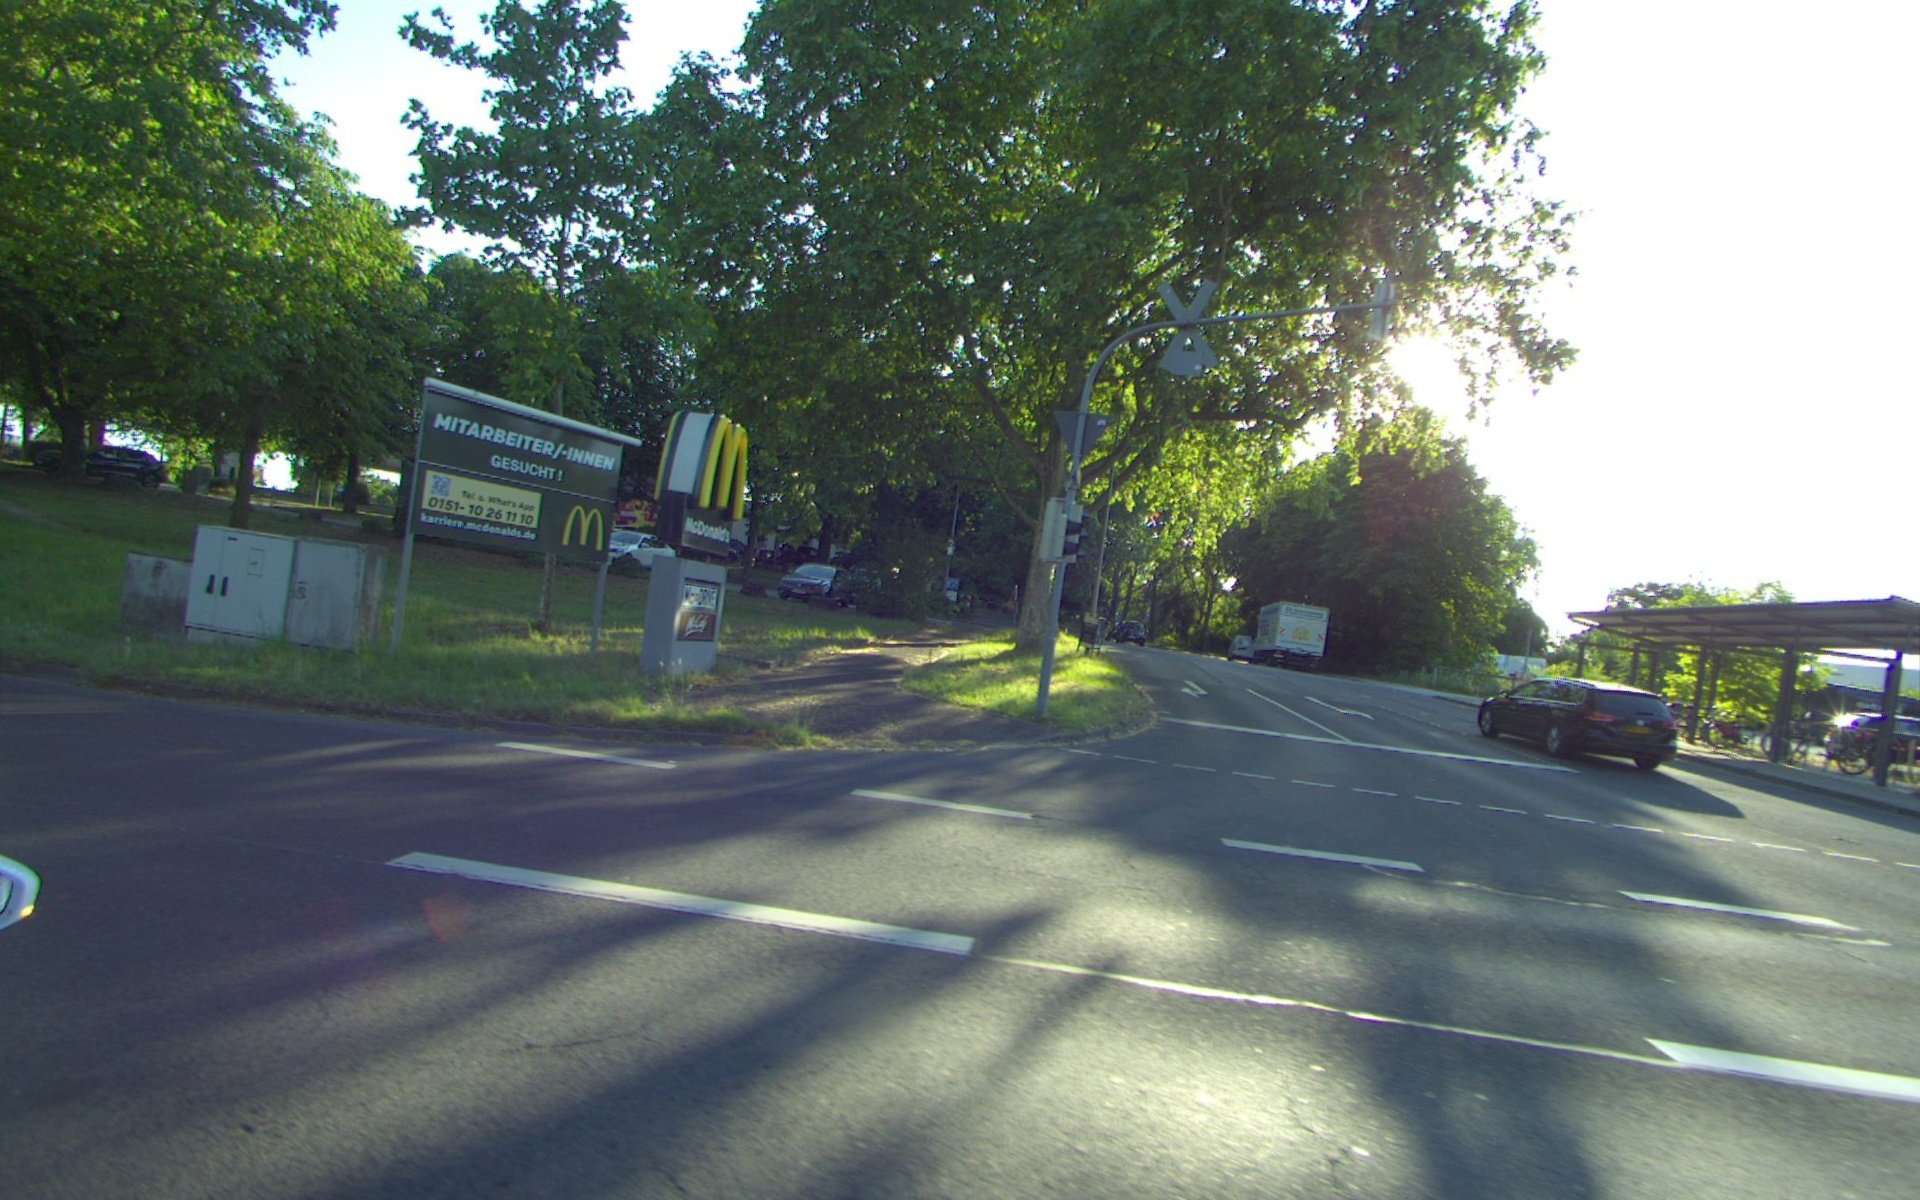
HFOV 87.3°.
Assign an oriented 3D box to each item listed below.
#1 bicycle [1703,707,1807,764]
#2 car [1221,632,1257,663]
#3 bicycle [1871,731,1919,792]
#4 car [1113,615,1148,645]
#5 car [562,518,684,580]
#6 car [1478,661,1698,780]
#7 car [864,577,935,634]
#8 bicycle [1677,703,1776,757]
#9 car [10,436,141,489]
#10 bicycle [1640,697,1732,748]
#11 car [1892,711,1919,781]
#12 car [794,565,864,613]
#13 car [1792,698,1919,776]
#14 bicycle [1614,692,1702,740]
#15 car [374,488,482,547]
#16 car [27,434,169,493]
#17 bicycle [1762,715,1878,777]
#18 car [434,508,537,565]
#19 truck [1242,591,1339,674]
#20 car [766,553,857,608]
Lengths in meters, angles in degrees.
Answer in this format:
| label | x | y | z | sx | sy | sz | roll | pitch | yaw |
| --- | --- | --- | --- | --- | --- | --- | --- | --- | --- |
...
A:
| label | x | y | z | sx | sy | sz | roll | pitch | yaw |
| --- | --- | --- | --- | --- | --- | --- | --- | --- | --- |
| bicycle | 19.242 | 3.278 | 24.367 | 1.857 | 1.051 | 0.544 | 7 | 1 | 7 |
| car | 20.468 | 3.463 | 73.924 | 1.671 | 1.931 | 4.868 | 8 | 0 | 8 |
| bicycle | 19.002 | 3.227 | 19.544 | 1.857 | 1.051 | 0.544 | 7 | 1 | 7 |
| car | 10.579 | 1.824 | 62.587 | 1.816 | 1.571 | 4.001 | 8 | 0 | 8 |
| car | -12.478 | -1.844 | 37.645 | 1.962 | 1.727 | 4.901 | 8 | 0 | 12 |
| car | 11.756 | 2.176 | 19.232 | 1.796 | 1.575 | 4.259 | 8 | 0 | 7 |
| car | -2.113 | 0.208 | 36.012 | 1.647 | 1.751 | 3.504 | 8 | 1 | 9 |
| bicycle | 19.220 | 3.255 | 25.252 | 1.857 | 1.051 | 0.544 | 7 | 1 | 7 |
| car | -39.839 | -6.146 | 45.408 | 1.774 | 1.571 | 3.999 | 8 | 0 | 21 |
| bicycle | 19.455 | 3.282 | 26.989 | 1.857 | 1.051 | 0.544 | 7 | 1 | 11 |
| car | 25.837 | 3.923 | 24.355 | 4.239 | 1.669 | 2.120 | 8 | 1 | 5 |
| car | -5.714 | -0.460 | 44.292 | 1.647 | 1.751 | 3.503 | 8 | 1 | 16 |
| car | 26.242 | 3.938 | 27.922 | 4.239 | 1.669 | 2.120 | 8 | 1 | 5 |
| bicycle | 19.652 | 3.255 | 28.356 | 1.857 | 1.051 | 0.544 | 7 | 1 | 11 |
| car | -20.188 | -3.086 | 38.382 | 1.794 | 1.709 | 4.223 | 7 | 0 | -2 |
| car | -34.615 | -5.447 | 40.542 | 1.773 | 1.571 | 4.001 | 7 | 0 | 12 |
| bicycle | 19.033 | 3.220 | 22.279 | 1.857 | 1.051 | 0.544 | 7 | 1 | 7 |
| car | -18.394 | -2.424 | 39.203 | 1.794 | 1.709 | 4.224 | 7 | 0 | 0 |
| truck | 18.805 | 1.806 | 58.110 | 3.134 | 3.924 | 11.102 | 8 | 0 | 9 |
| car | -5.307 | -0.649 | 36.476 | 2.005 | 1.593 | 4.403 | 7 | 0 | 7 |
